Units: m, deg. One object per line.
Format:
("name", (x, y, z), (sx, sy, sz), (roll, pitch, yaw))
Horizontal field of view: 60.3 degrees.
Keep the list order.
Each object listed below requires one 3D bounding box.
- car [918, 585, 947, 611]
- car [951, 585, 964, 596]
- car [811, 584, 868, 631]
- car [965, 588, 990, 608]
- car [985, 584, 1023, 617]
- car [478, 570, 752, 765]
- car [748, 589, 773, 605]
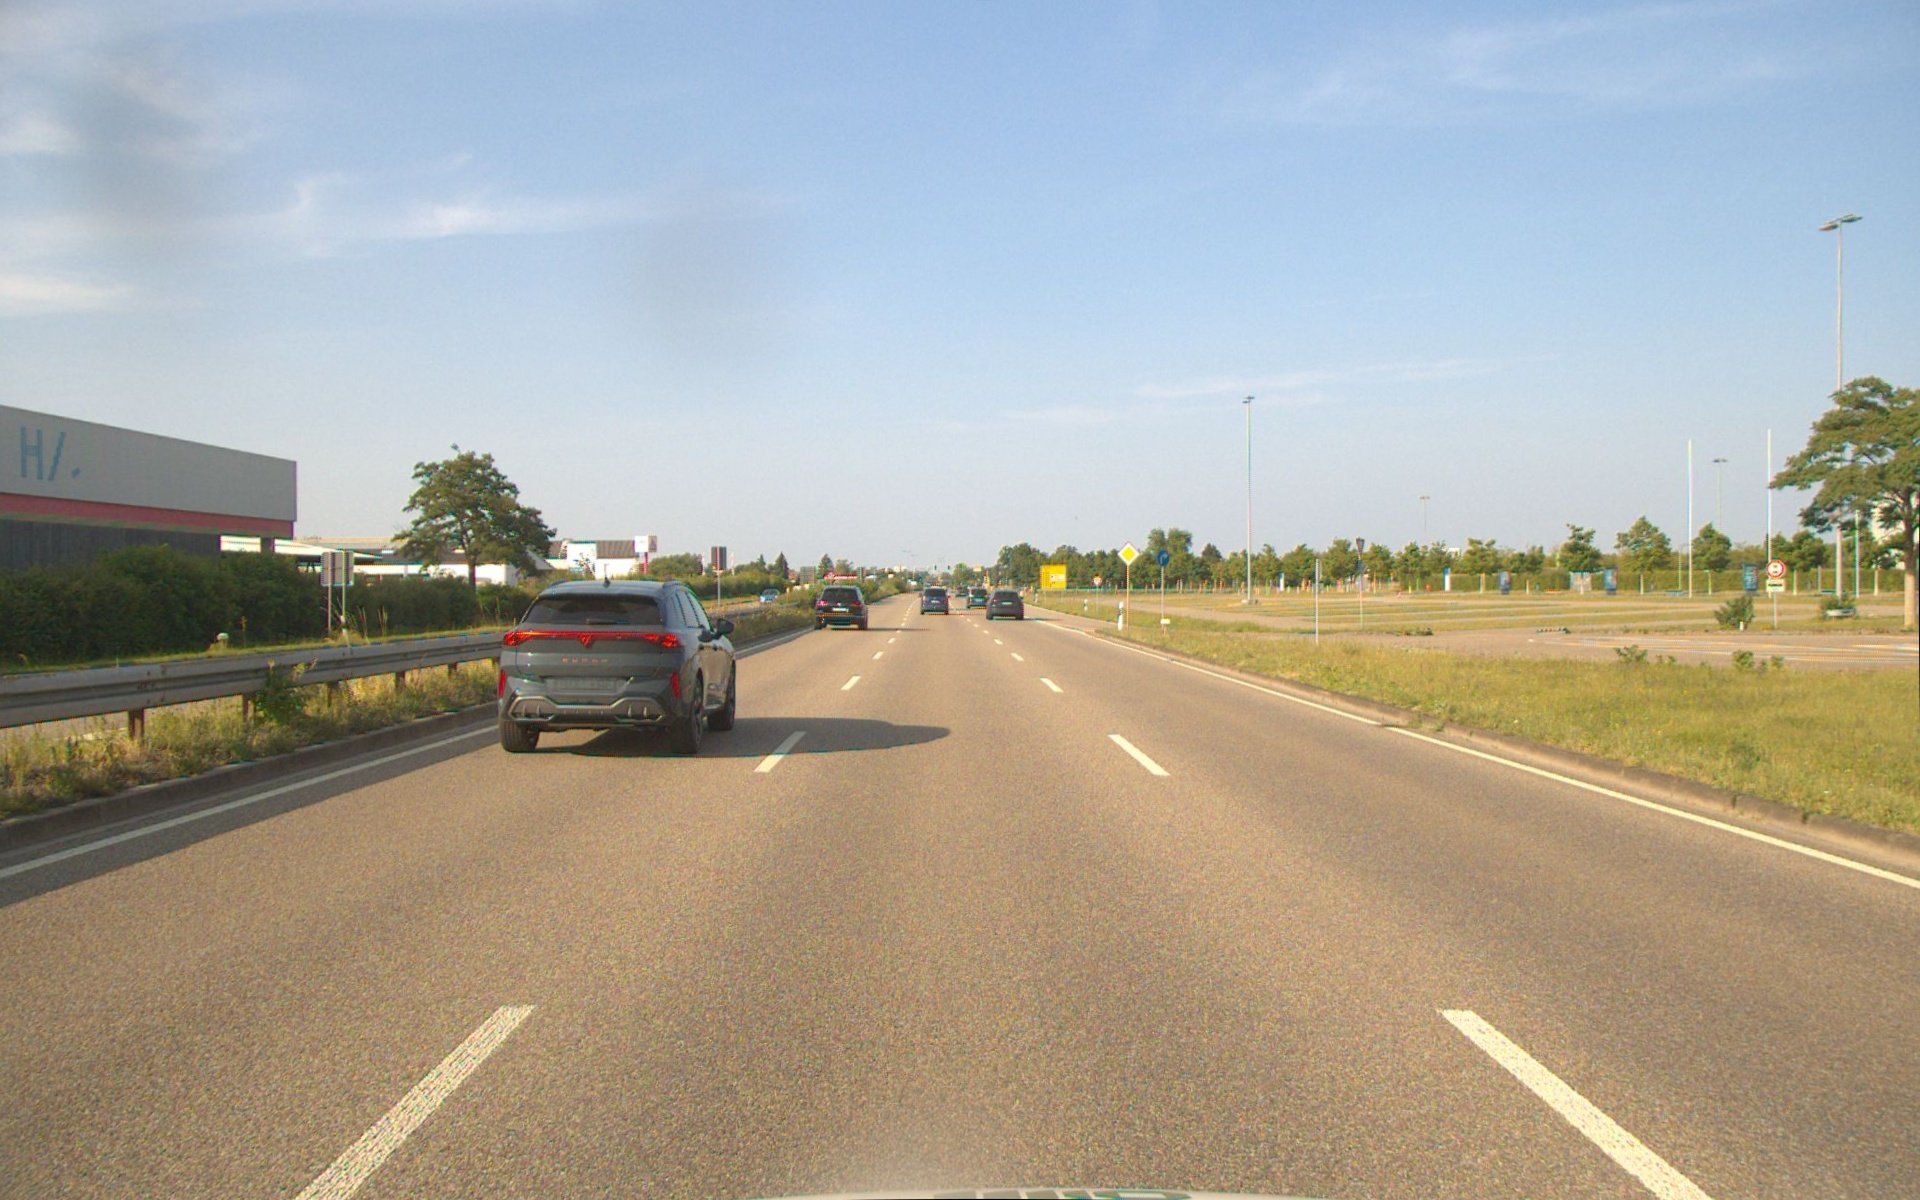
("car", (-1.707, -0.140, 103.419), (1.776, 1.488, 4.400), (2, 1, -1))
("car", (-0.314, -1.141, 205.133), (1.472, 1.336, 3.155), (2, 1, -1))
("car", (-4.654, 0.259, 64.289), (1.893, 1.709, 4.400), (2, 1, -1))
("car", (1.349, -0.193, 130.727), (1.835, 1.488, 3.980), (2, 1, -1))
("car", (2.367, -0.013, 90.211), (1.893, 1.709, 4.400), (2, 1, -1))
("car", (-3.269, 0.563, 16.552), (1.808, 1.640, 4.400), (2, 1, -1))
("car", (-17.705, -0.267, 146.789), (1.743, 1.449, 4.000), (-1, 0, 0))
